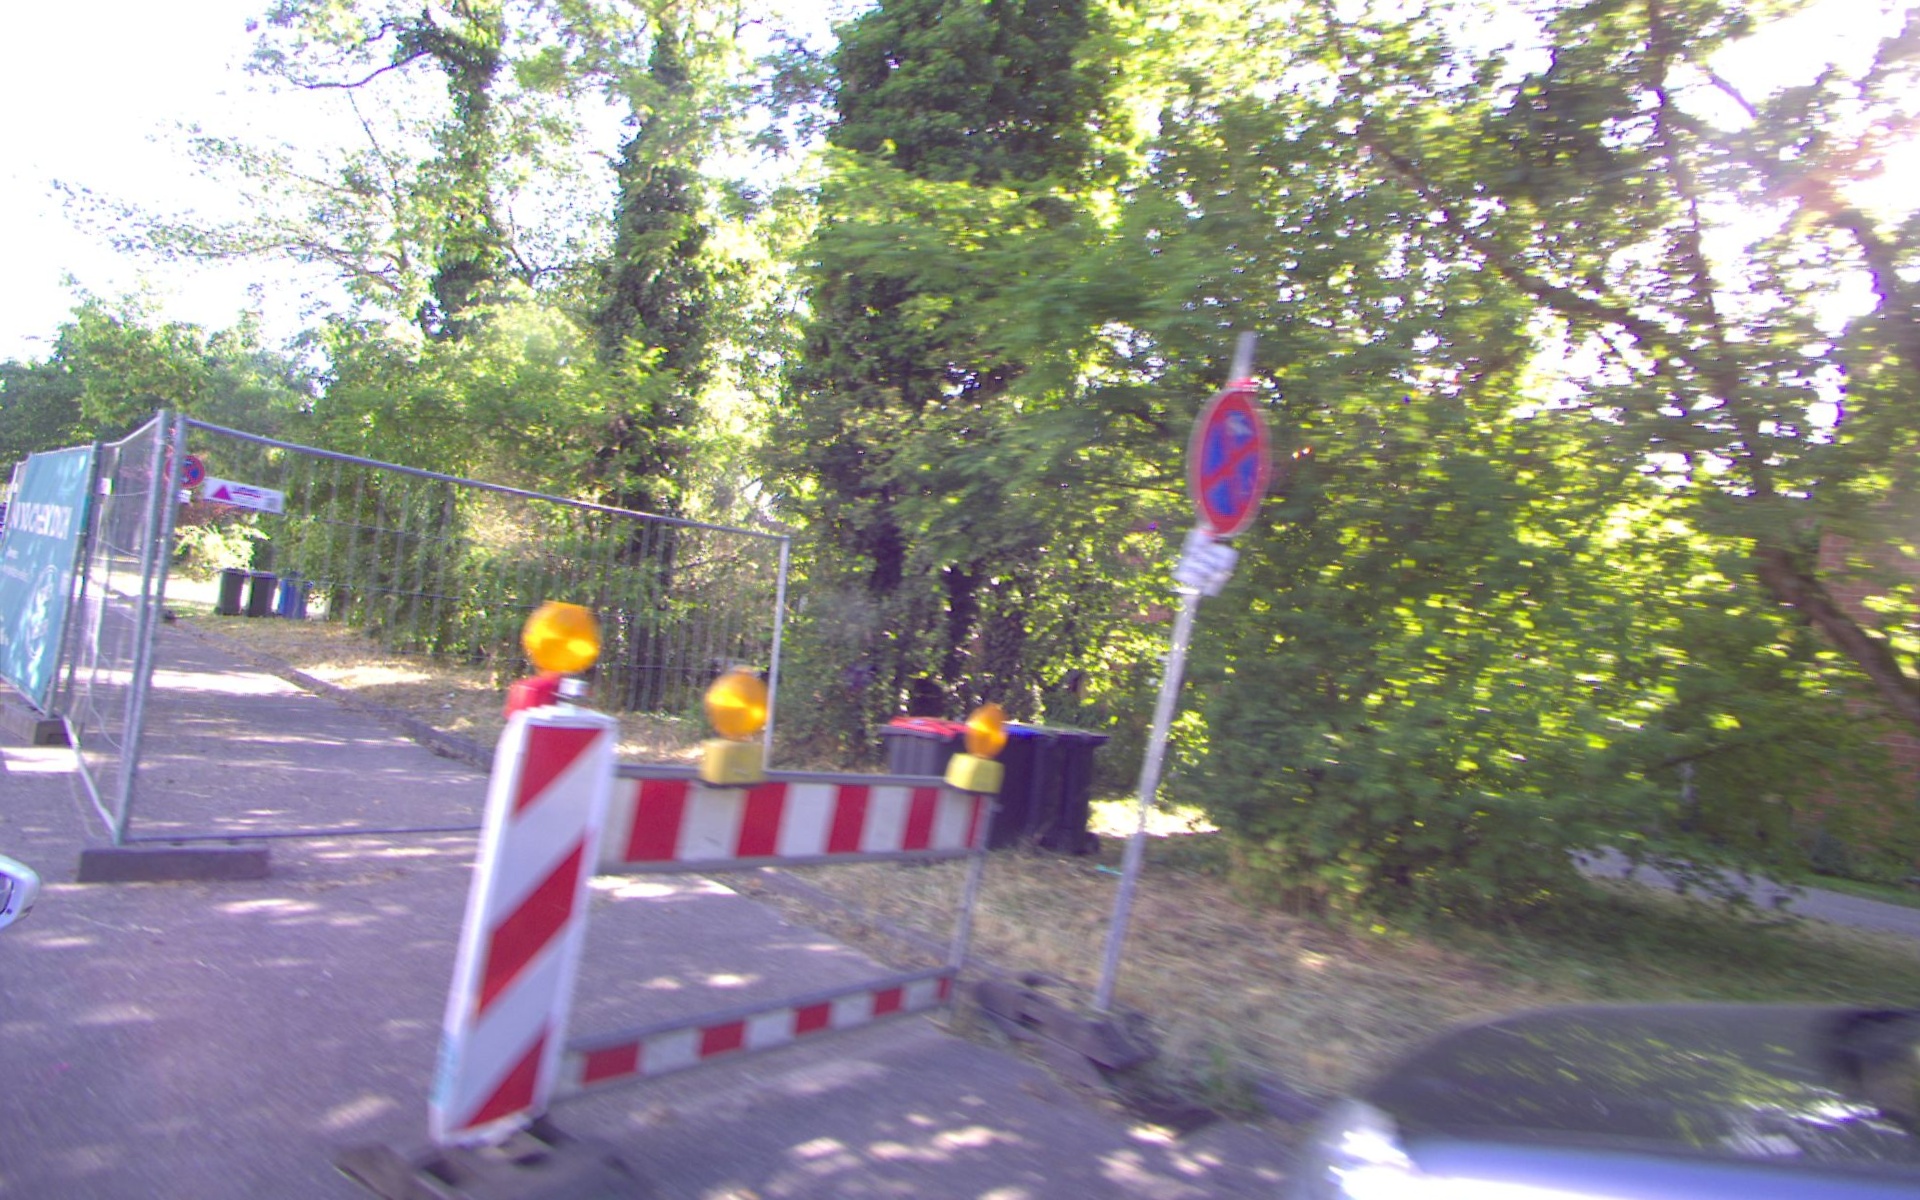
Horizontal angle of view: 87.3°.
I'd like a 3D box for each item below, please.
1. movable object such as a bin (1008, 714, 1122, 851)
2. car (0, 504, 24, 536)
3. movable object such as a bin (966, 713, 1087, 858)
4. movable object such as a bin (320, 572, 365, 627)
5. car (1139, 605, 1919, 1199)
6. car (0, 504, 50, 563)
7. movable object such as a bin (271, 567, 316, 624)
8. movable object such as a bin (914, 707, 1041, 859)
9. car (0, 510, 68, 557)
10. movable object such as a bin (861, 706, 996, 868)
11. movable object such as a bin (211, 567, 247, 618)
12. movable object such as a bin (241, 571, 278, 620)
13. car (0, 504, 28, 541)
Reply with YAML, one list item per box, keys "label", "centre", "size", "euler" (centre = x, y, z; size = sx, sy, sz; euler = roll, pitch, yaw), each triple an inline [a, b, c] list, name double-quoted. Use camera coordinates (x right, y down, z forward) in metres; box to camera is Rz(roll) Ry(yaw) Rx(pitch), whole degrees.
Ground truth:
- label: "movable object such as a bin"
  centre: [0.771, 1.323, 7.361]
  size: [0.552, 0.871, 0.483]
  euler: [6, -3, 41]
- label: "car"
  centre: [-61.047, -5.198, 63.773]
  size: [4.492, 1.804, 1.792]
  euler: [6, -4, 40]
- label: "movable object such as a bin"
  centre: [0.464, 1.274, 6.980]
  size: [0.552, 0.871, 0.483]
  euler: [6, -3, 41]
- label: "movable object such as a bin"
  centre: [-12.384, -0.005, 20.174]
  size: [0.600, 1.011, 0.561]
  euler: [6, -1, 44]
- label: "car"
  centre: [2.376, 1.096, 0.976]
  size: [4.081, 1.639, 1.678]
  euler: [6, -4, 43]
- label: "car"
  centre: [-31.885, -2.313, 33.741]
  size: [1.807, 1.668, 4.368]
  euler: [12, -5, -42]
- label: "movable object such as a bin"
  centre: [-12.947, -0.091, 19.544]
  size: [0.600, 1.011, 0.517]
  euler: [6, -1, 44]
- label: "movable object such as a bin"
  centre: [0.119, 1.192, 6.631]
  size: [0.552, 0.871, 0.483]
  euler: [6, -3, 41]
- label: "car"
  centre: [-36.054, -2.588, 39.005]
  size: [4.100, 1.390, 1.661]
  euler: [6, -5, 43]
- label: "movable object such as a bin"
  centre: [-0.198, 1.146, 6.260]
  size: [0.552, 0.871, 0.483]
  euler: [6, -3, 41]
- label: "movable object such as a bin"
  centre: [-13.744, -0.140, 18.913]
  size: [0.478, 0.880, 0.412]
  euler: [6, -1, 44]
- label: "movable object such as a bin"
  centre: [-13.437, -0.091, 19.295]
  size: [0.478, 0.880, 0.412]
  euler: [6, -1, 44]
- label: "car"
  centre: [-53.272, -4.373, 55.988]
  size: [3.621, 1.791, 1.622]
  euler: [6, -5, 44]
